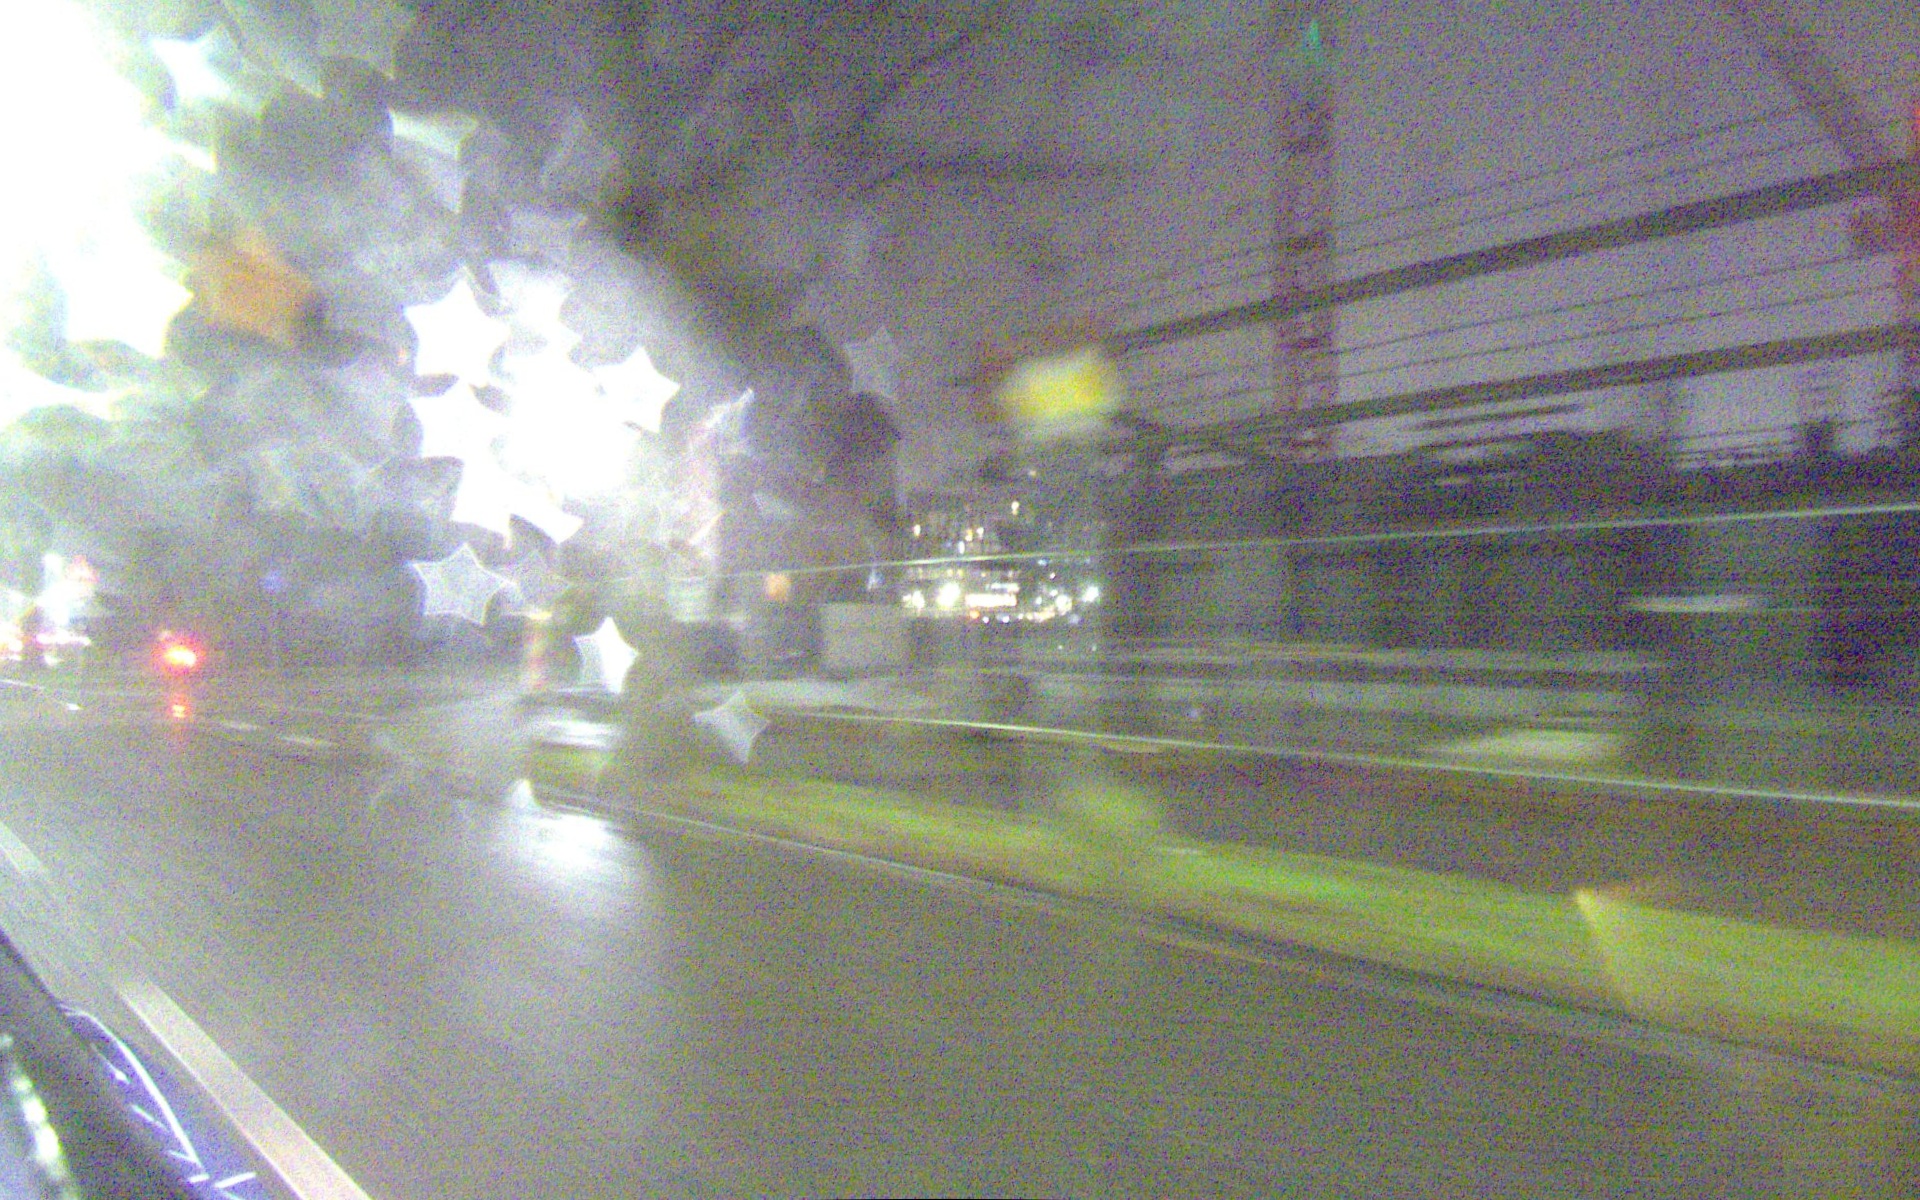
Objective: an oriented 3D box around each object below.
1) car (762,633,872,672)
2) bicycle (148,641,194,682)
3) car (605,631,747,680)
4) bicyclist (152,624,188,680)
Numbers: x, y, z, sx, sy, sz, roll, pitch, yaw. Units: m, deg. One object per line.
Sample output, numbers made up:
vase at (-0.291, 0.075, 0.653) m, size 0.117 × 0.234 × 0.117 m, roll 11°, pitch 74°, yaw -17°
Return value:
car at (-5.083, 1.841, 36.325) m, size 1.494 × 1.268 × 3.814 m, roll 2°, pitch 0°, yaw 41°
bicycle at (-23.607, 1.813, 30.266) m, size 2.312 × 1.169 × 0.623 m, roll -2°, pitch -1°, yaw 40°
car at (-8.876, 1.705, 31.836) m, size 4.028 × 1.381 × 1.495 m, roll 2°, pitch 1°, yaw -44°
bicyclist at (-23.596, 1.565, 30.238) m, size 0.959 × 1.607 × 0.630 m, roll -5°, pitch -3°, yaw 40°
